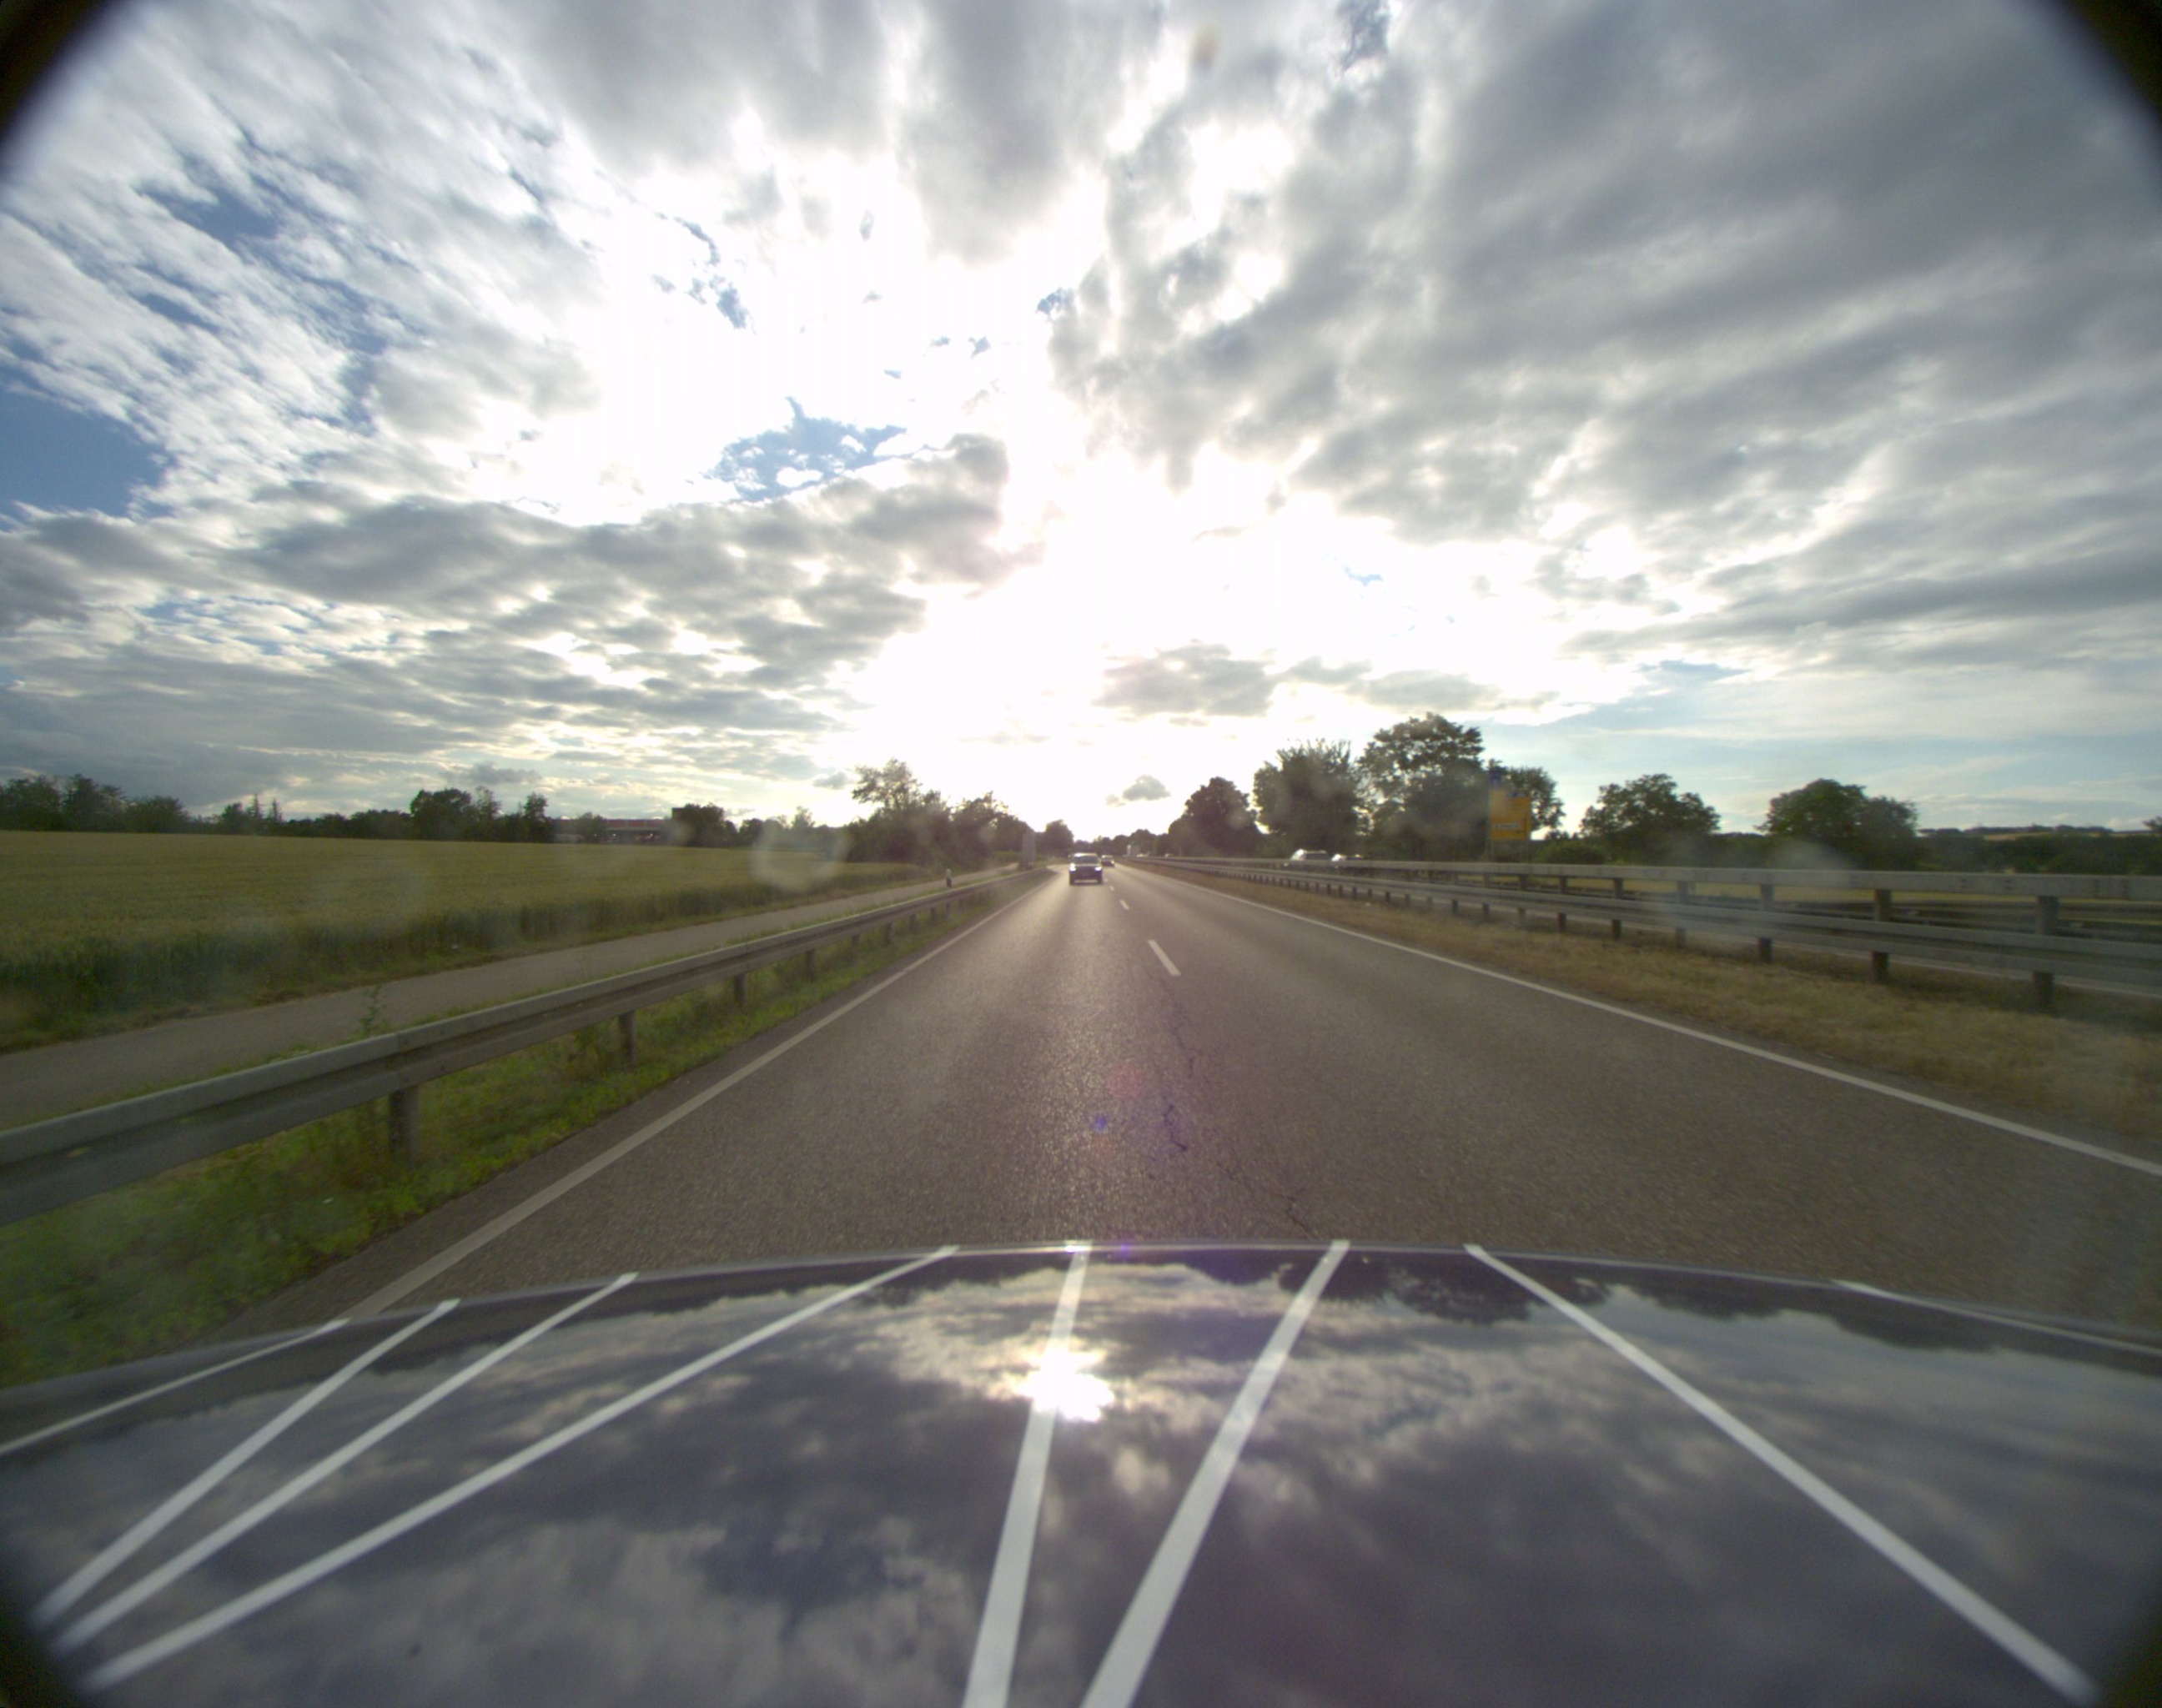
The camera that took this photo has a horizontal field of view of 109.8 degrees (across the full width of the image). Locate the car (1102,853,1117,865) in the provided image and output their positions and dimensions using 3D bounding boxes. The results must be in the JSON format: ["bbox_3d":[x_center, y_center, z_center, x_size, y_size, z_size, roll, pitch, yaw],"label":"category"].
[{"bbox_3d":[3.496,0.628,93.285,1.775,1.389,4.000,-2,1,3],"label":"car"}]

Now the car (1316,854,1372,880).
[{"bbox_3d":[16.326,0.794,47.394,1.911,1.470,4.461,-2,1,1],"label":"car"}]

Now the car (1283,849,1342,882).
[{"bbox_3d":[12.221,0.544,40.417,1.802,1.605,4.376,2,1,1],"label":"car"}]

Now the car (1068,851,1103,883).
[{"bbox_3d":[0.285,0.711,43.071,1.863,1.636,4.000,-2,1,1],"label":"car"}]

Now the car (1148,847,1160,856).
[{"bbox_3d":[13.880,-0.497,145.376,1.937,1.626,4.376,0,1,1],"label":"car"}]
